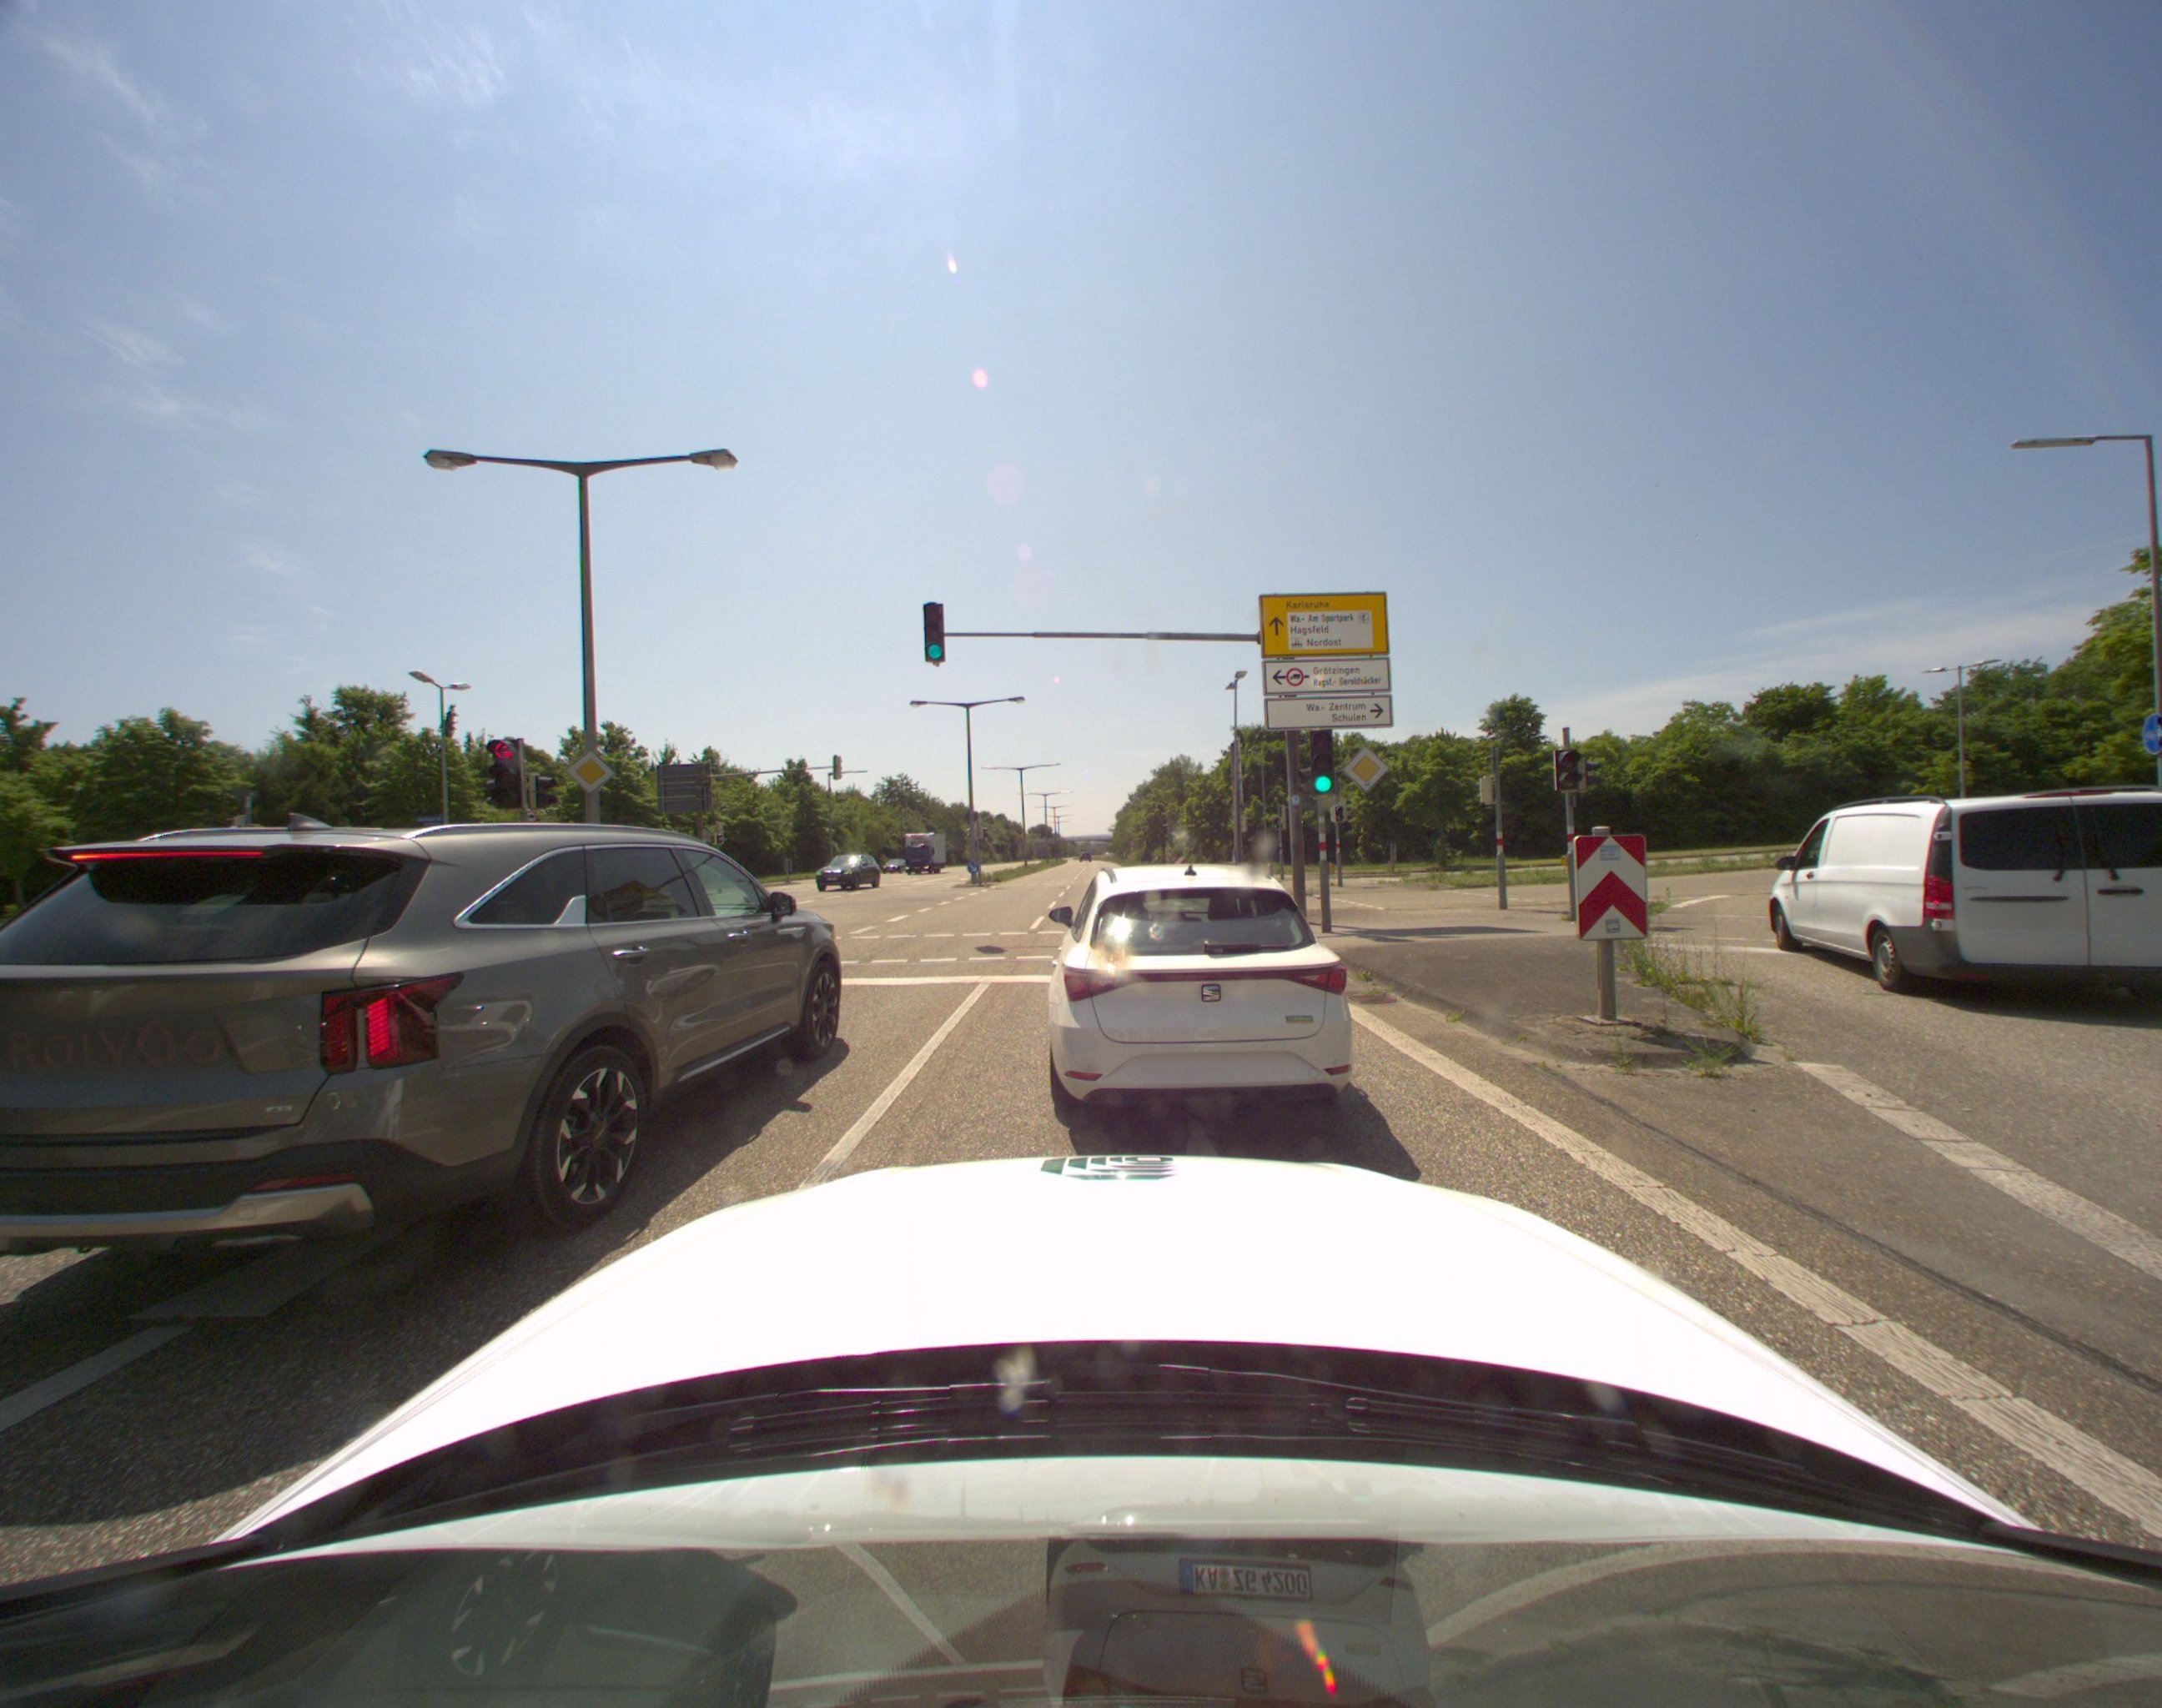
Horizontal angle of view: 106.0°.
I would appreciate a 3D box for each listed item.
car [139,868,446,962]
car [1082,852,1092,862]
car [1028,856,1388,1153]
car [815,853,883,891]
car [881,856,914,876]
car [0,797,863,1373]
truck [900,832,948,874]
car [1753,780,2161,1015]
[{"bbox_3d":[-15.036,1.066,15.934,1.816,1.455,4.170,-2,0,1],"label":"car"},{"bbox_3d":[1.103,0.552,150.331,1.848,1.709,4.000,-2,0,1],"label":"car"},{"bbox_3d":[0.669,0.747,5.793,1.728,1.428,3.696,0,-1,2],"label":"car"},{"bbox_3d":[-11.221,0.821,39.647,1.699,1.663,4.229,-2,0,5],"label":"car"},{"bbox_3d":[-17.552,1.151,78.151,1.816,1.732,4.928,-2,0,2],"label":"car"},{"bbox_3d":[-2.879,0.698,4.729,1.797,1.662,4.646,-2,0,2],"label":"car"},{"bbox_3d":[-14.051,-0.099,73.446,2.678,3.570,7.269,-2,0,1],"label":"truck"},{"bbox_3d":[9.063,0.307,8.670,1.843,1.818,4.937,-2,0,26],"label":"car"}]
